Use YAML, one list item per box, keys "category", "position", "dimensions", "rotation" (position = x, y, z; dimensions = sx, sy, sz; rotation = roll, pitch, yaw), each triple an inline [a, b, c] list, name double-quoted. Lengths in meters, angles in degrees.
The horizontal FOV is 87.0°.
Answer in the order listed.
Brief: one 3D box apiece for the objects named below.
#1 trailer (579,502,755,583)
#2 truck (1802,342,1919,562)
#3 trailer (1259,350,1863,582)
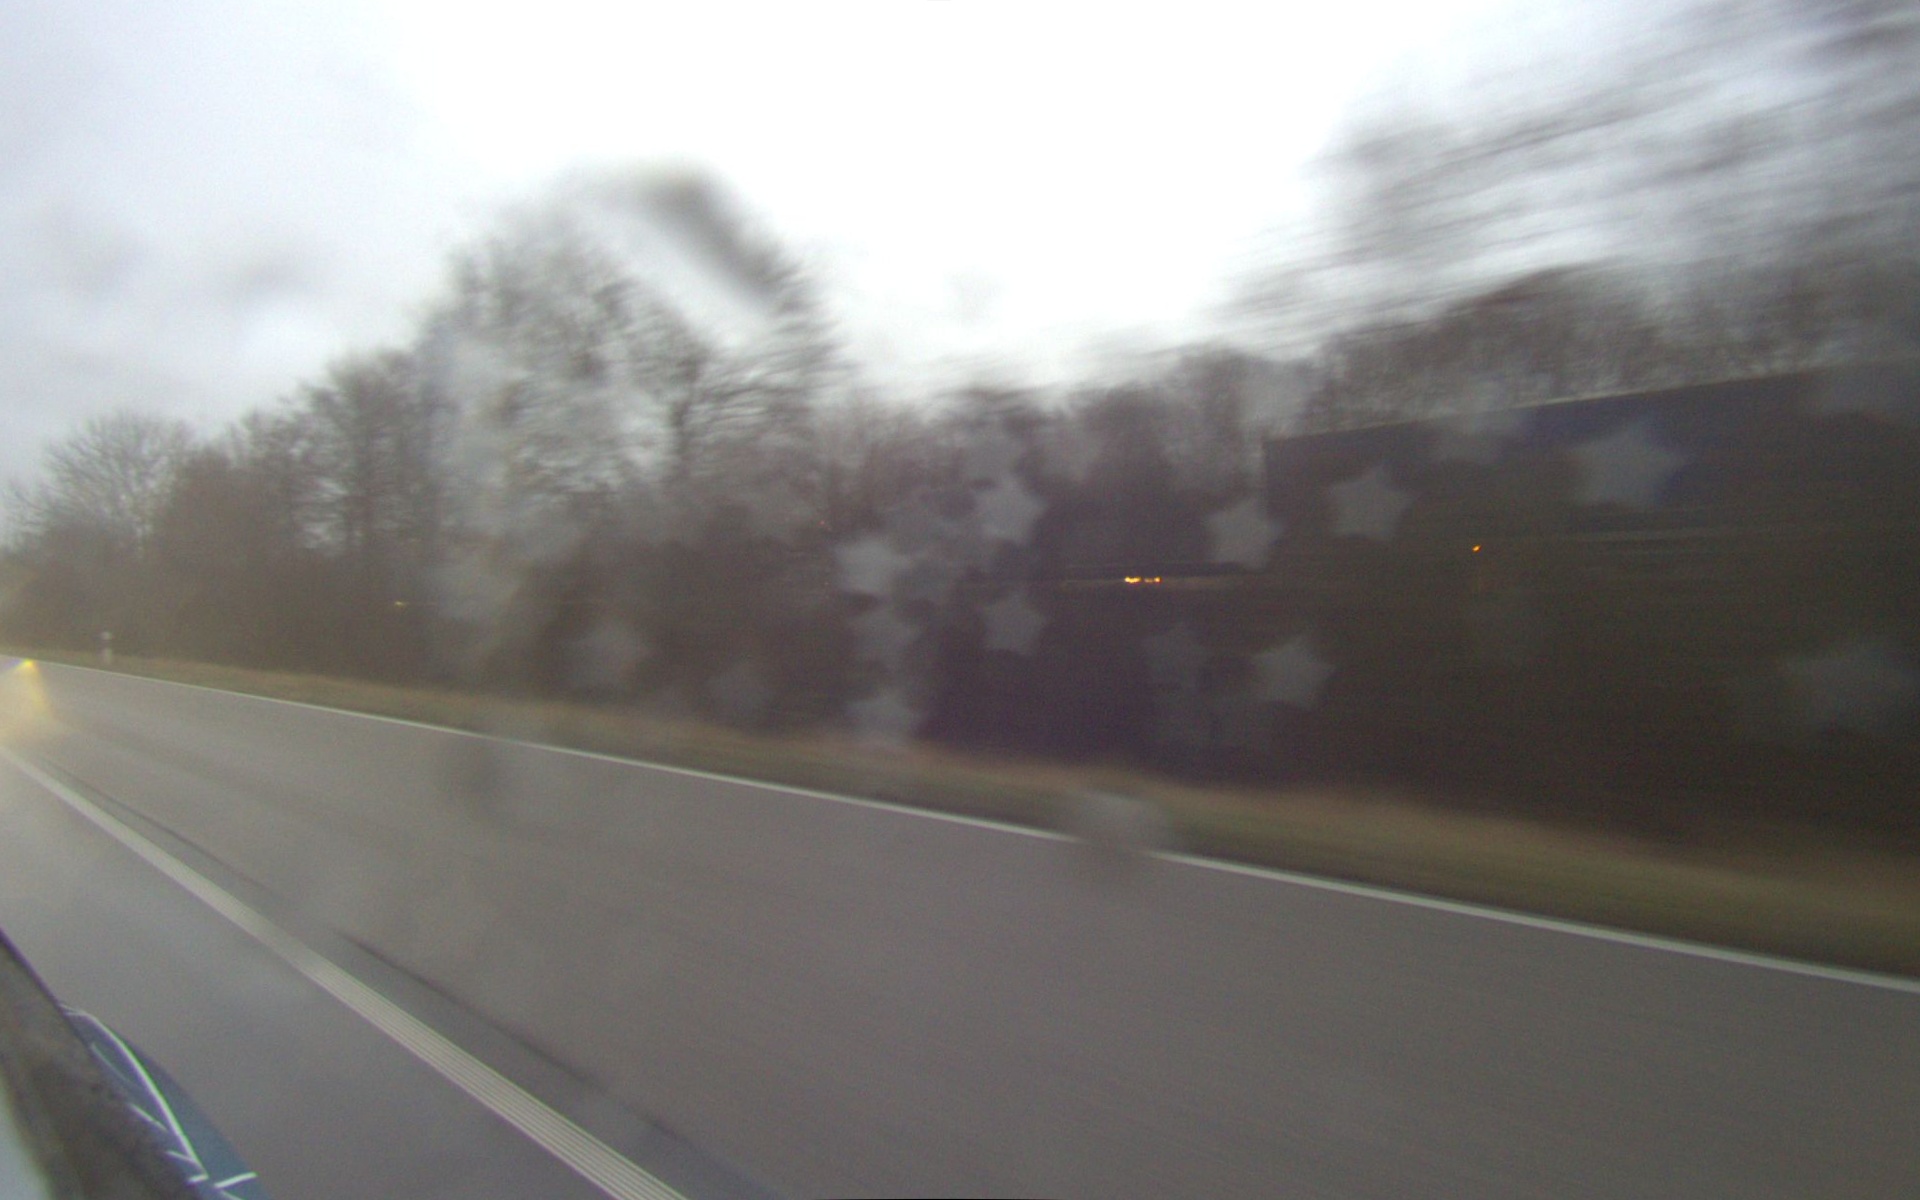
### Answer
- category: "trailer"
  position: [-13.893, -2.506, 47.111]
  dimensions: [11.082, 2.913, 2.410]
  rotation: [-2, -2, 42]
- category: "truck"
  position: [18.803, -2.699, 17.730]
  dimensions: [6.065, 3.660, 2.960]
  rotation: [-2, -2, 42]
- category: "trailer"
  position: [12.854, -2.490, 23.052]
  dimensions: [11.383, 3.661, 2.967]
  rotation: [-2, -2, 42]
